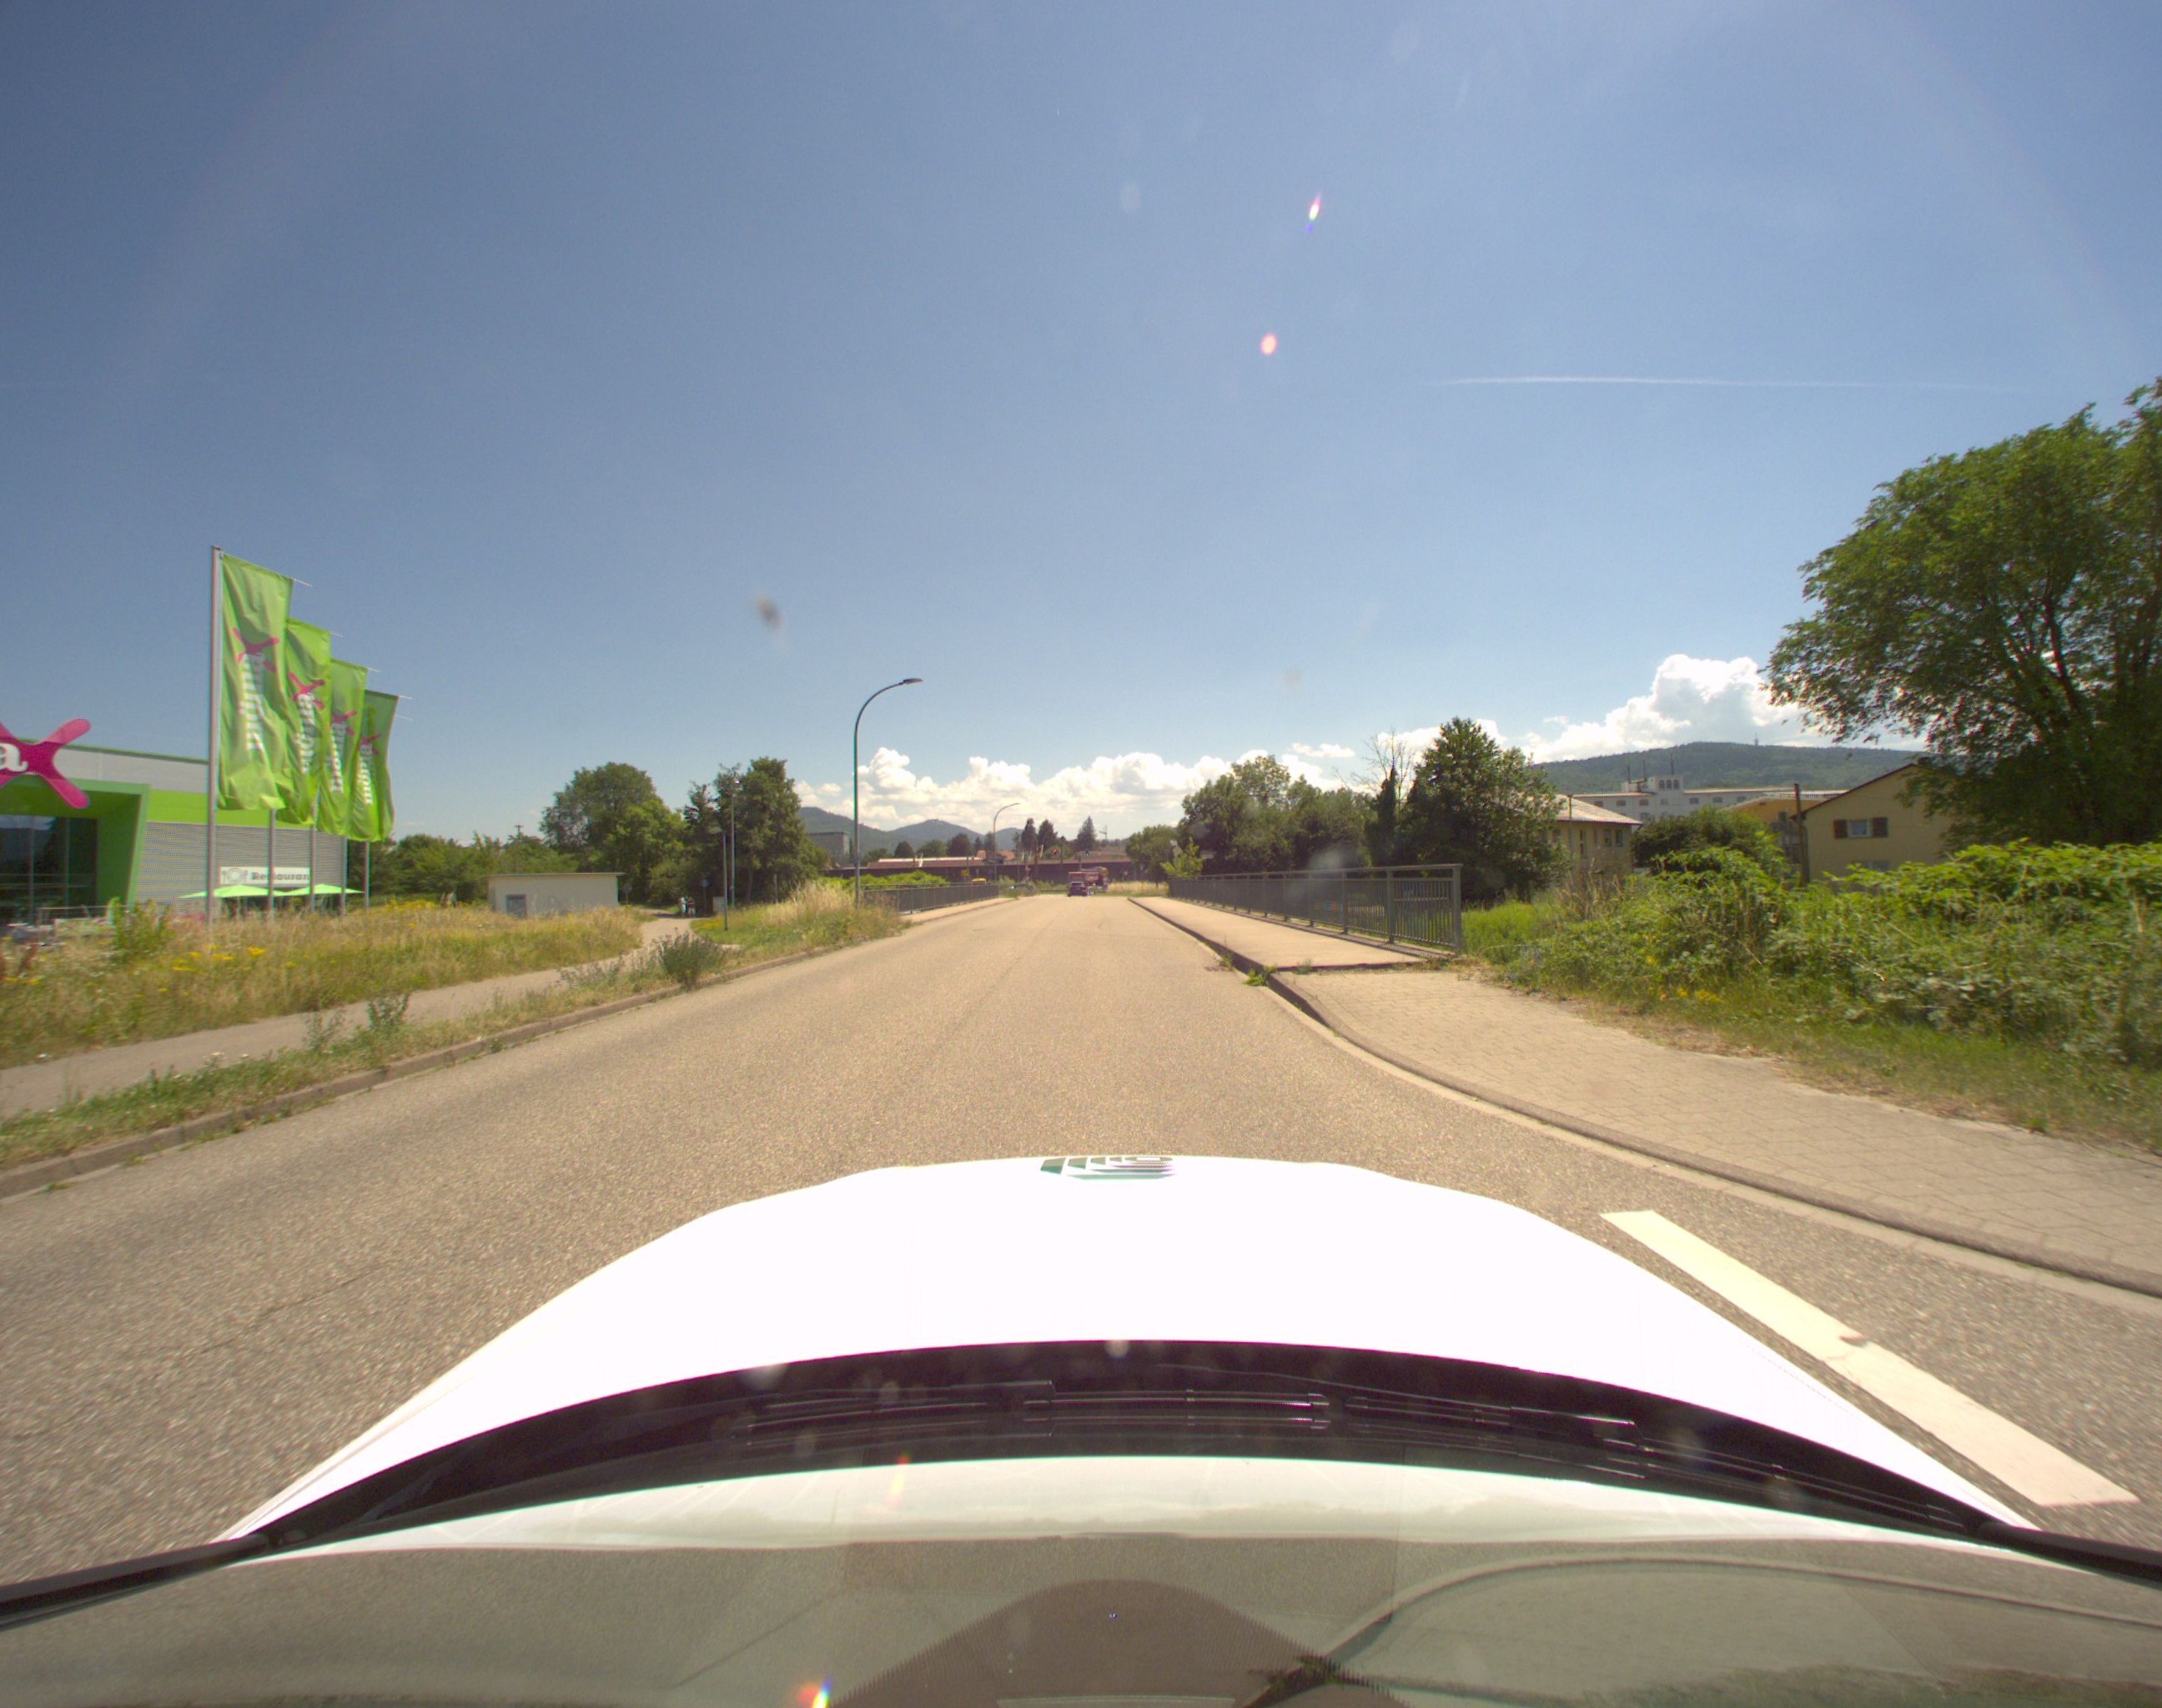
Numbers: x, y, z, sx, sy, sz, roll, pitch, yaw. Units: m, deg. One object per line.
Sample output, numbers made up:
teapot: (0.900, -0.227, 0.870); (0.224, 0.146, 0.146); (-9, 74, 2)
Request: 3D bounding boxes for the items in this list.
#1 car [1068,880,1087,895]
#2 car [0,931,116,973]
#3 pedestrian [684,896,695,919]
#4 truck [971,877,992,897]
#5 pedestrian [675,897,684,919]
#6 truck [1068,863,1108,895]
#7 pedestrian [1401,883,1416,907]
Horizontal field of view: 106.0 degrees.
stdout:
car: (-0.379, 3.497, 84.936); (1.988, 1.503, 3.998); (0, -2, -1)
car: (-44.224, 4.138, 34.671); (3.969, 1.513, 2.002); (0, -1, 3)
pedestrian: (-29.882, 4.080, 62.181); (0.629, 1.674, 0.594); (2, -3, -21)
truck: (-13.108, 4.341, 106.819); (2.311, 2.338, 9.017); (-3, -3, -10)
pedestrian: (-30.402, 4.076, 61.715); (0.515, 1.674, 0.624); (2, -3, -21)
truck: (1.151, 3.533, 111.504); (2.975, 4.181, 11.846); (-1, -3, 13)
pedestrian: (20.316, 2.564, 50.508); (0.676, 1.393, 0.853); (-3, 1, 13)
